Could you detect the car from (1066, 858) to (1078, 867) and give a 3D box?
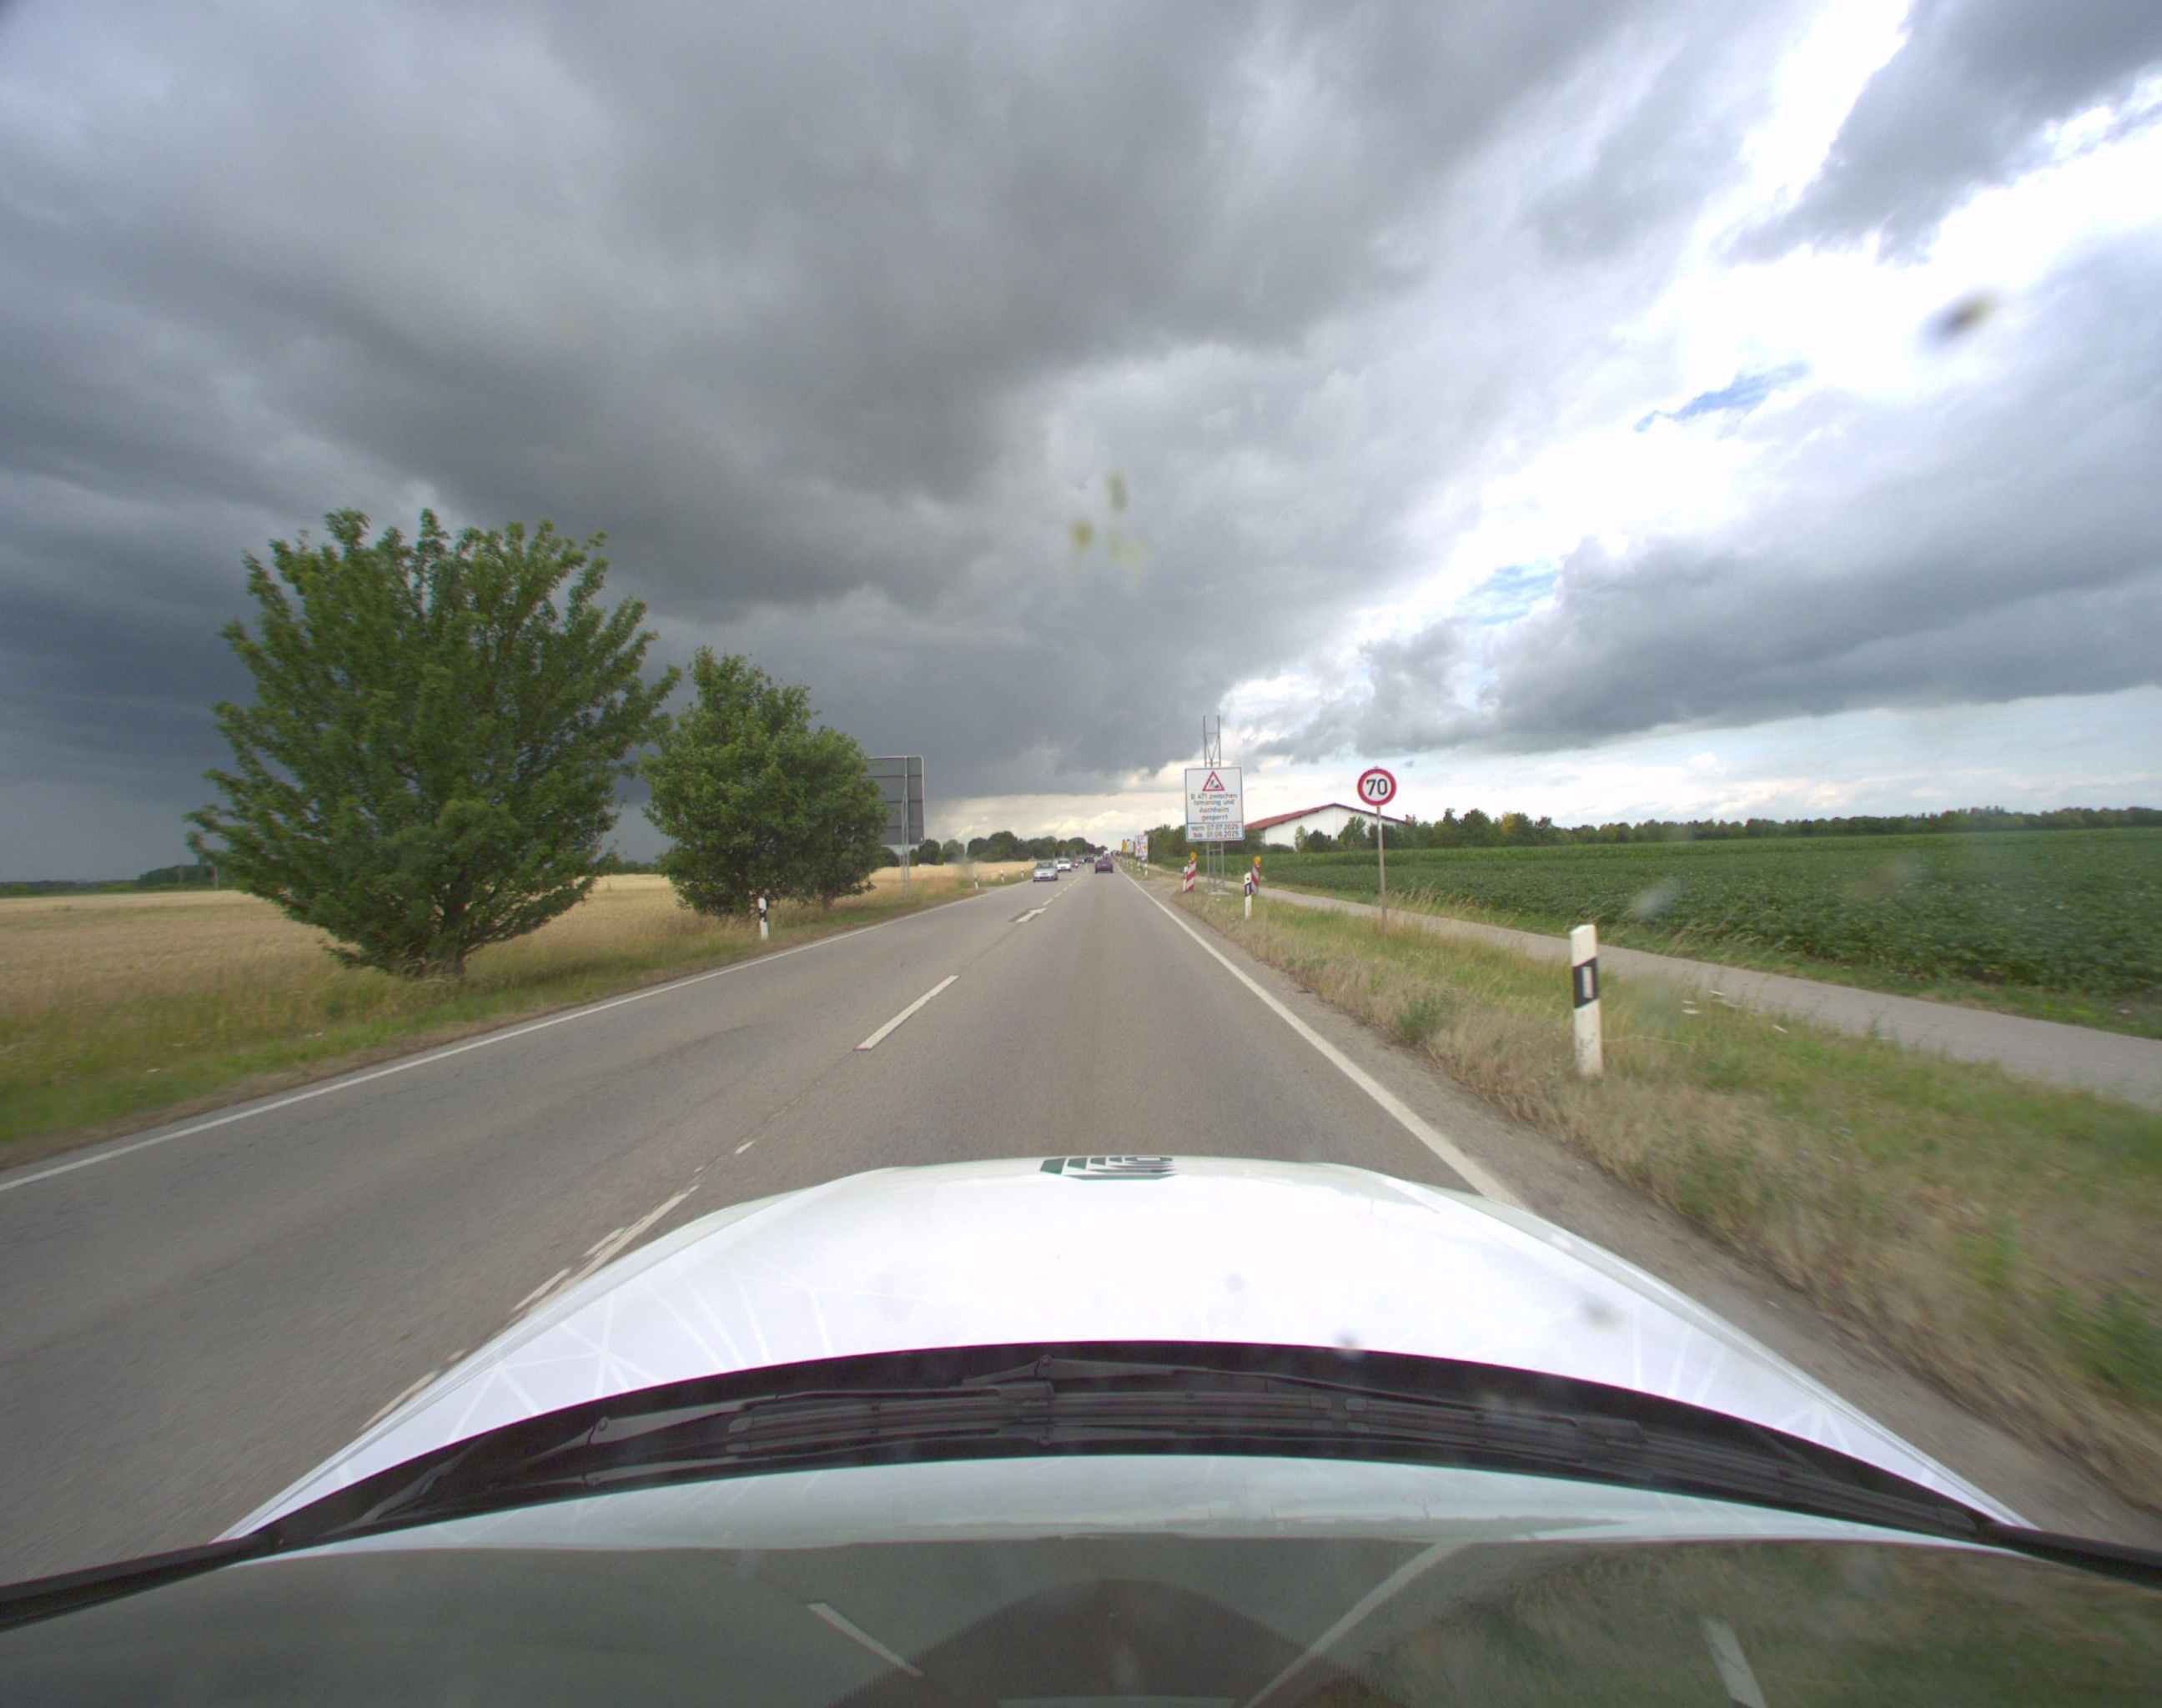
[{"bbox_3d":[-1.438,1.384,133.636,1.706,1.488,4.610,-2,0,2],"label":"car"}]

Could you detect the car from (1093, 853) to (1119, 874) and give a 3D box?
[{"bbox_3d":[2.494,0.973,81.815,2.365,1.880,4.476,-4,0,-1],"label":"car"}]

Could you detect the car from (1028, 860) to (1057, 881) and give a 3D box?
[{"bbox_3d":[-2.691,1.155,57.824,1.722,1.363,3.951,-2,0,2],"label":"car"}]

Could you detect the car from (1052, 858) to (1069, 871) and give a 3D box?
[{"bbox_3d":[-2.368,1.223,94.844,1.799,1.456,4.115,-2,0,2],"label":"car"}]

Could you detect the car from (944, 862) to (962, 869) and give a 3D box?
[{"bbox_3d":[-32.497,2.829,206.498,4.051,1.649,1.869,-2,-1,5],"label":"car"}]

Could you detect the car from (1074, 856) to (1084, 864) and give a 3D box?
[{"bbox_3d":[-0.420,1.408,186.746,2.057,1.580,4.767,-3,0,1],"label":"car"}]
